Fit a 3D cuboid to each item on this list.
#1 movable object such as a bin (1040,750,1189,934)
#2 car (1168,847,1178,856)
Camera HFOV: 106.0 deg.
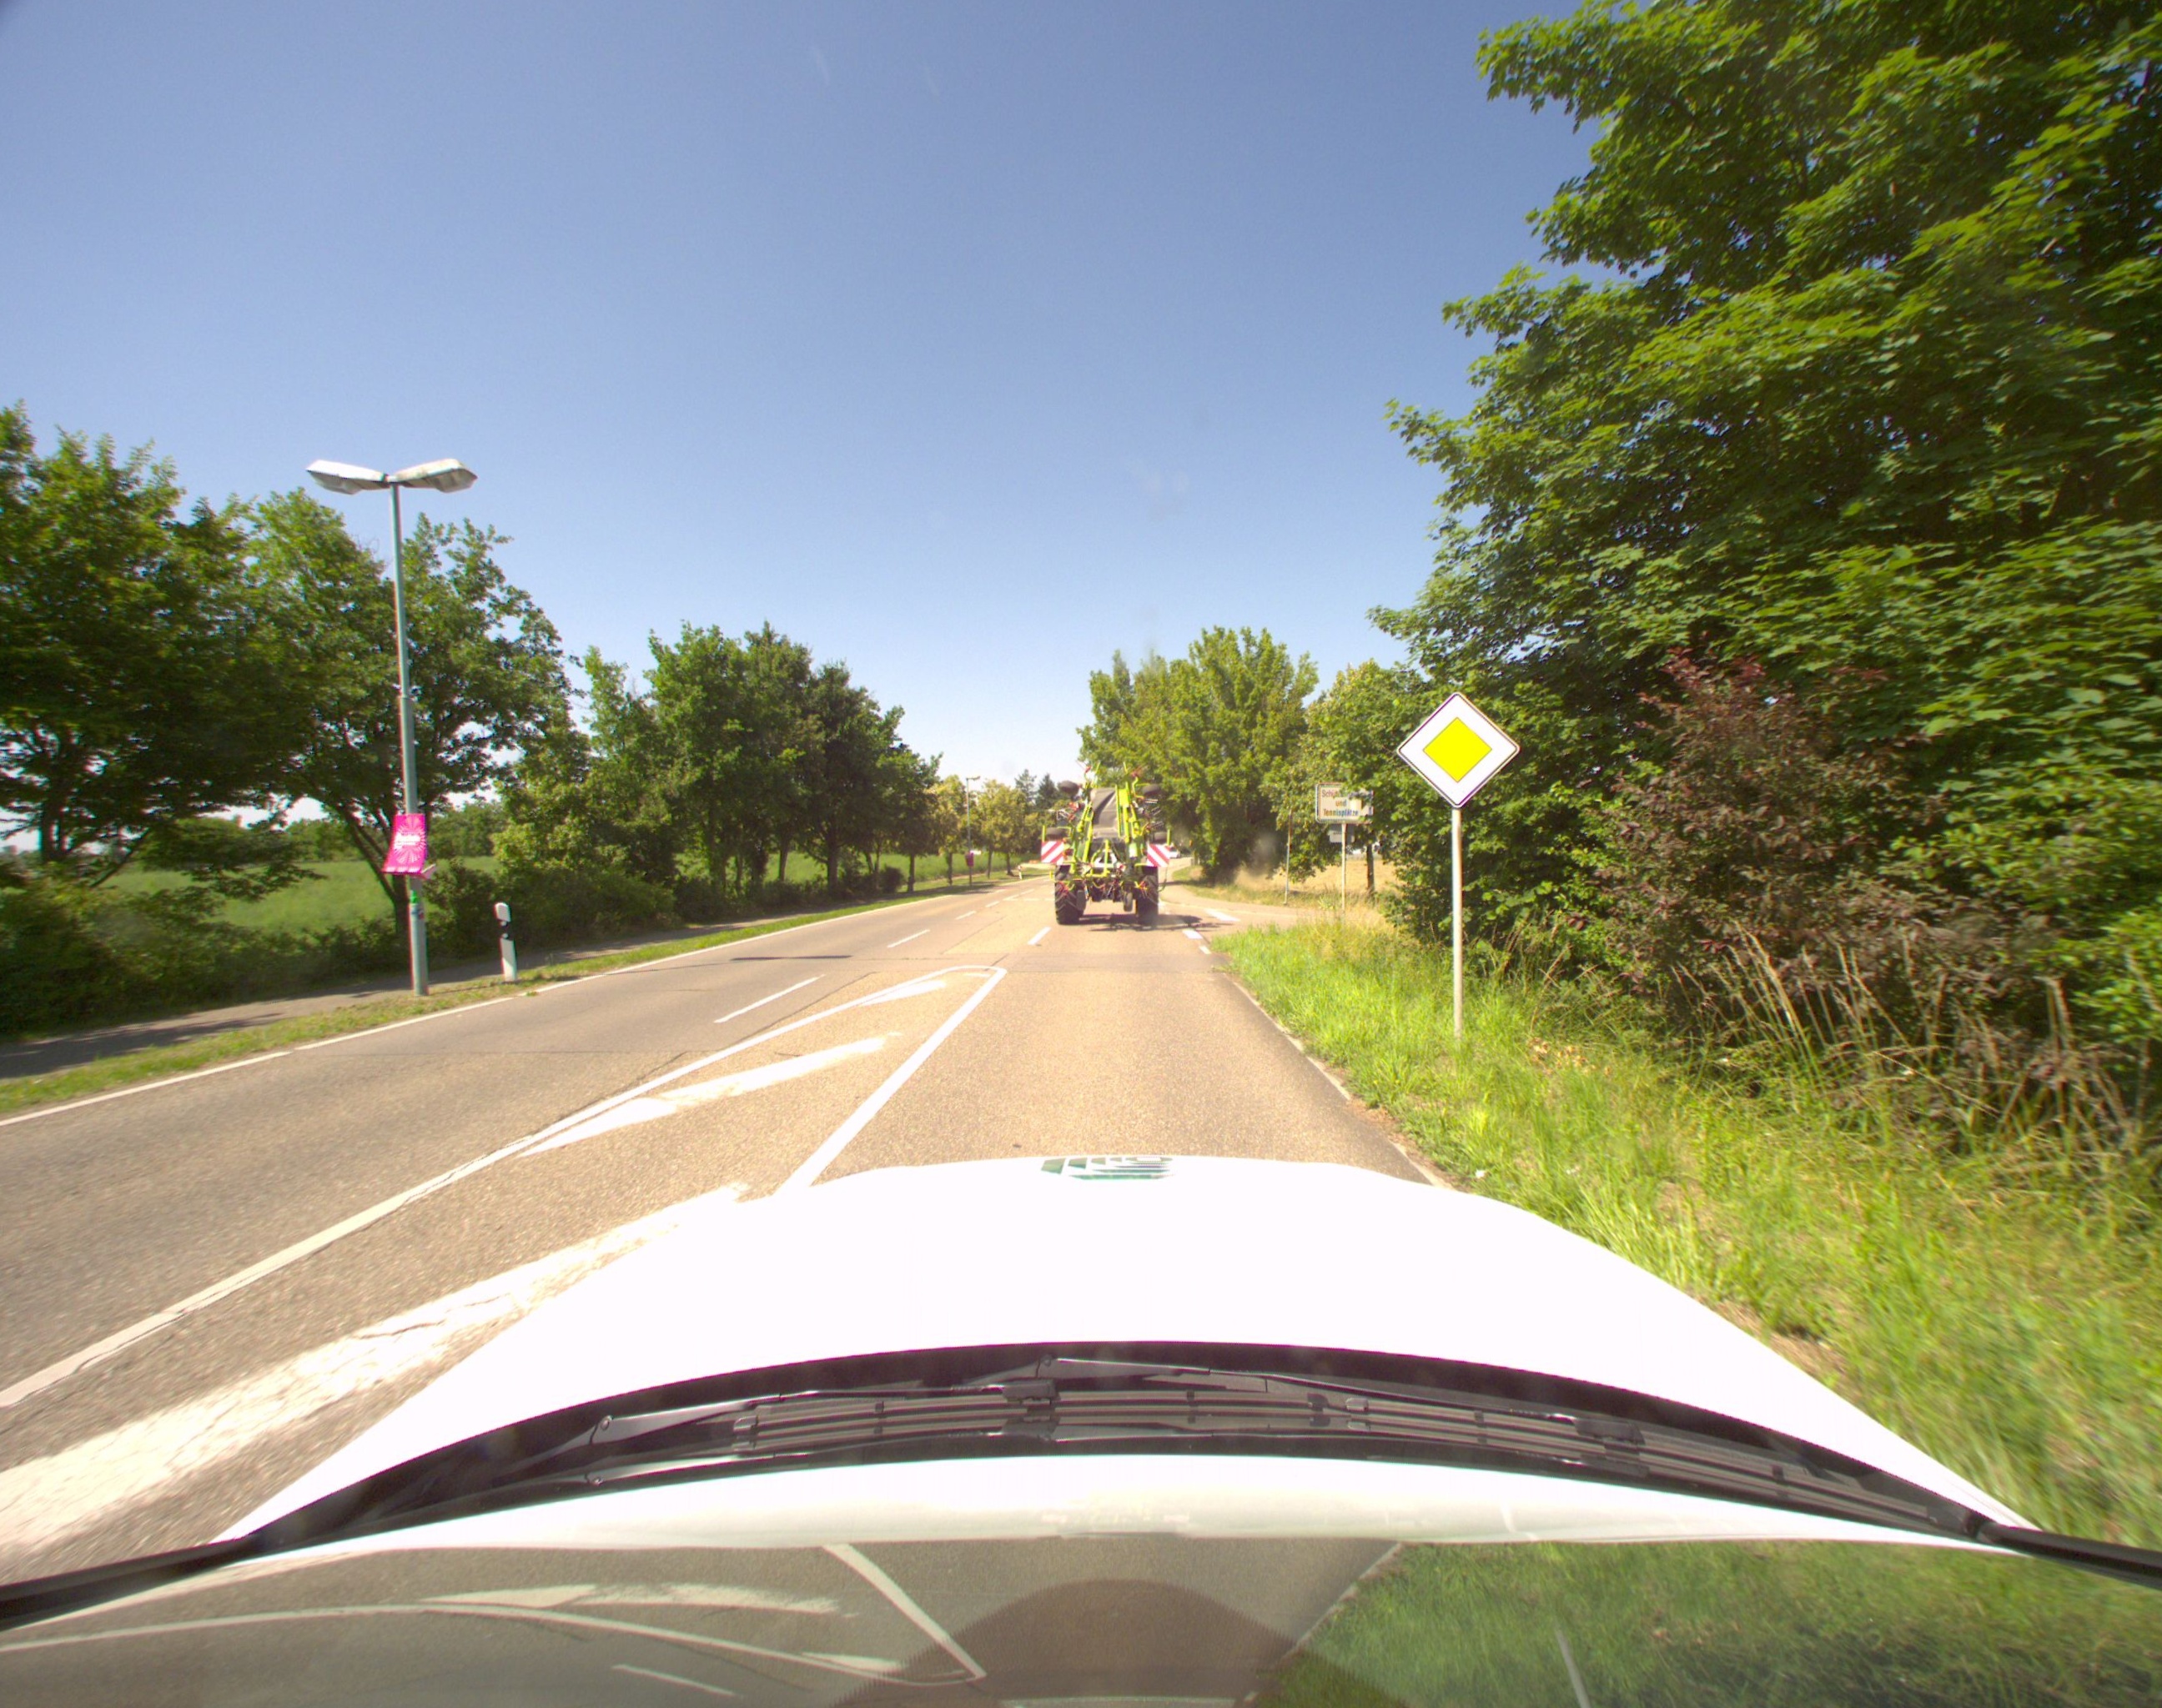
[{"bbox_3d":[0.824,-0.214,20.693,2.842,3.541,9.705,-1,0,2],"label":"movable object such as a bin"},{"bbox_3d":[16.401,-0.425,145.127,1.639,1.433,3.906,3,1,9],"label":"car"}]
